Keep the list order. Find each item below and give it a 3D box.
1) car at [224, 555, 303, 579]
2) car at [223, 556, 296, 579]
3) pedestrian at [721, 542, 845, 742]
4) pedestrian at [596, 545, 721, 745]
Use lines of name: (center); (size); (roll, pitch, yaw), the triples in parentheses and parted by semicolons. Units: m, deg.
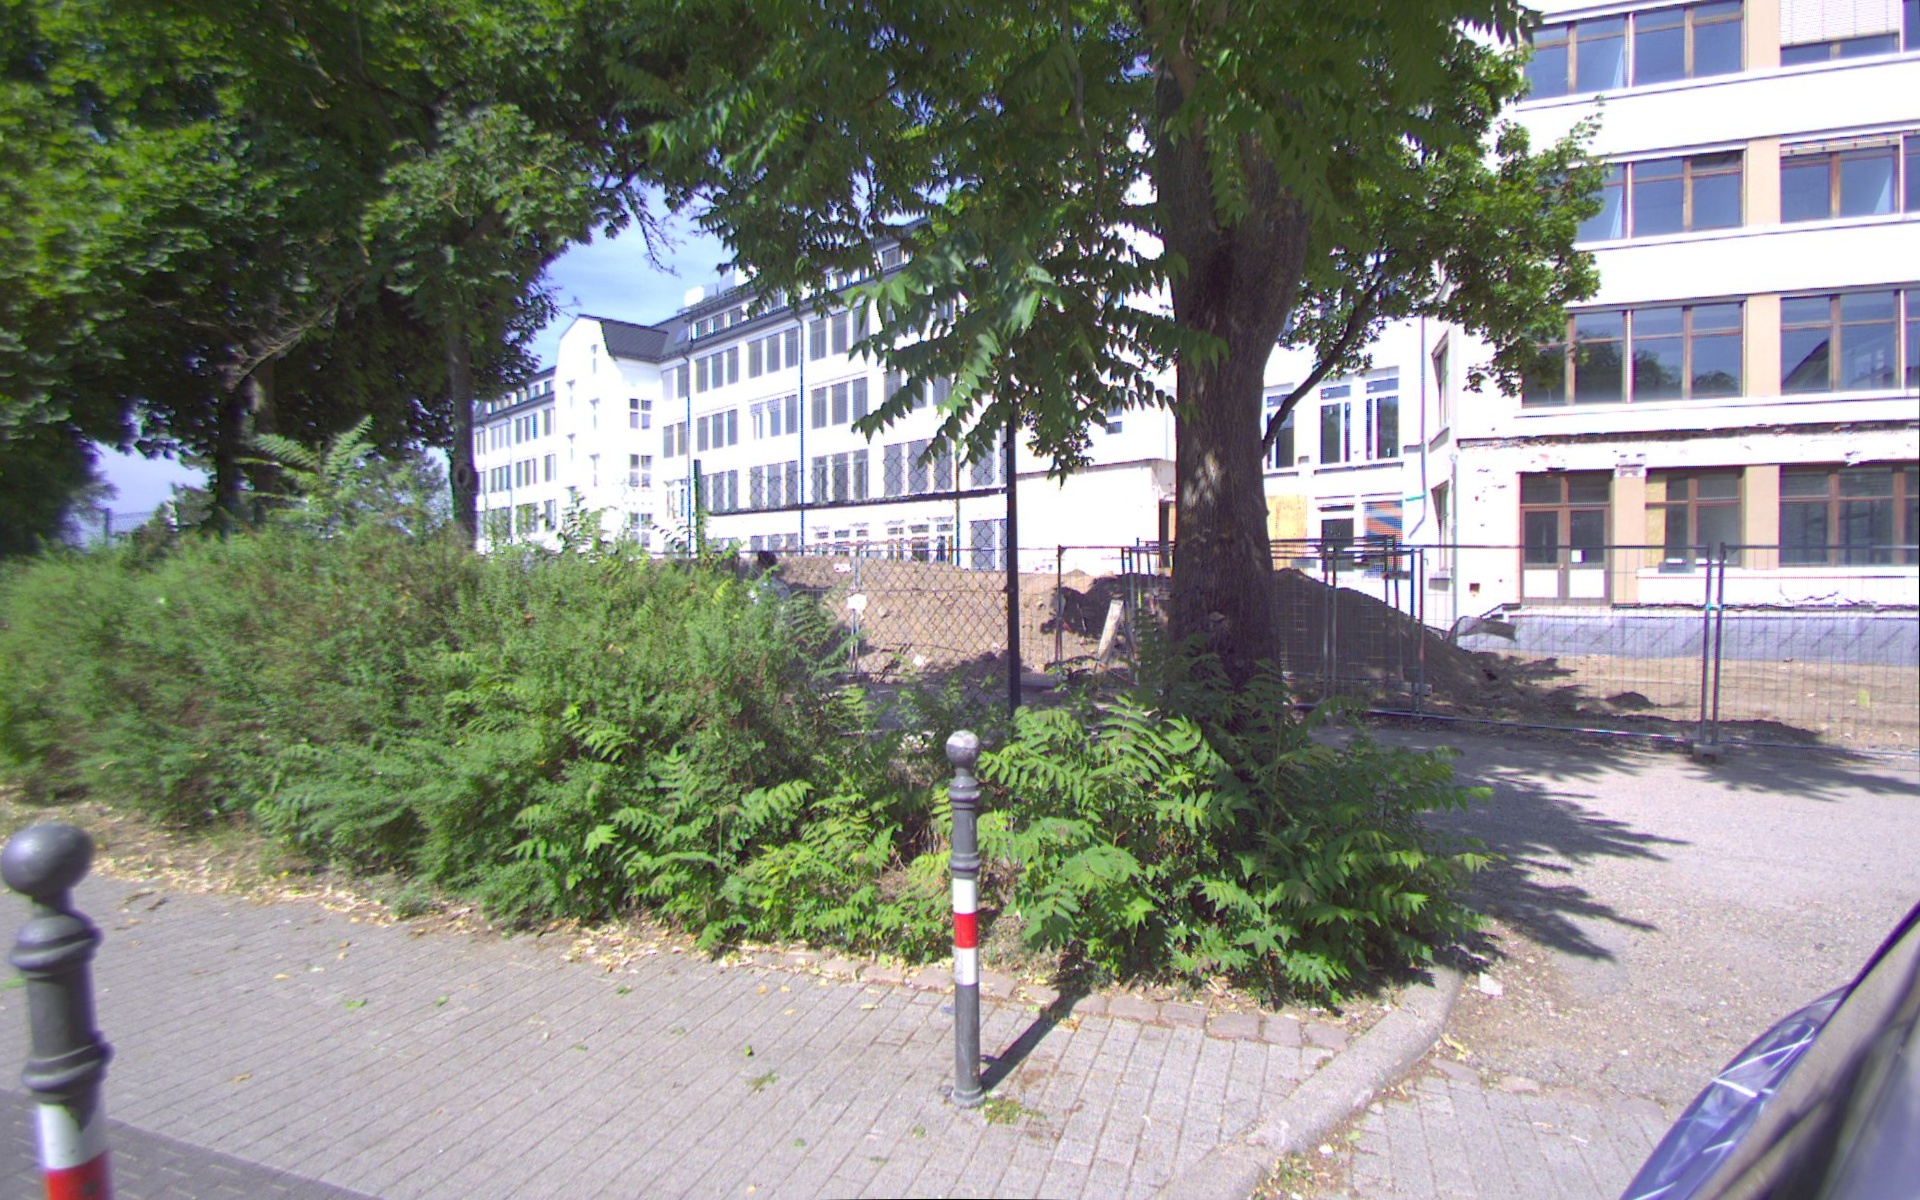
car: (-49.938, -2.353, 72.591); (4.501, 1.622, 1.549); (-1, 1, -42)
car: (-51.553, -2.388, 74.512); (4.291, 1.622, 1.549); (-1, 1, -42)
pedestrian: (-1.648, 0.355, 9.427); (0.849, 1.749, 0.747); (1, 1, 38)
pedestrian: (-2.662, 0.361, 8.940); (0.776, 1.660, 0.728); (1, 1, 36)
